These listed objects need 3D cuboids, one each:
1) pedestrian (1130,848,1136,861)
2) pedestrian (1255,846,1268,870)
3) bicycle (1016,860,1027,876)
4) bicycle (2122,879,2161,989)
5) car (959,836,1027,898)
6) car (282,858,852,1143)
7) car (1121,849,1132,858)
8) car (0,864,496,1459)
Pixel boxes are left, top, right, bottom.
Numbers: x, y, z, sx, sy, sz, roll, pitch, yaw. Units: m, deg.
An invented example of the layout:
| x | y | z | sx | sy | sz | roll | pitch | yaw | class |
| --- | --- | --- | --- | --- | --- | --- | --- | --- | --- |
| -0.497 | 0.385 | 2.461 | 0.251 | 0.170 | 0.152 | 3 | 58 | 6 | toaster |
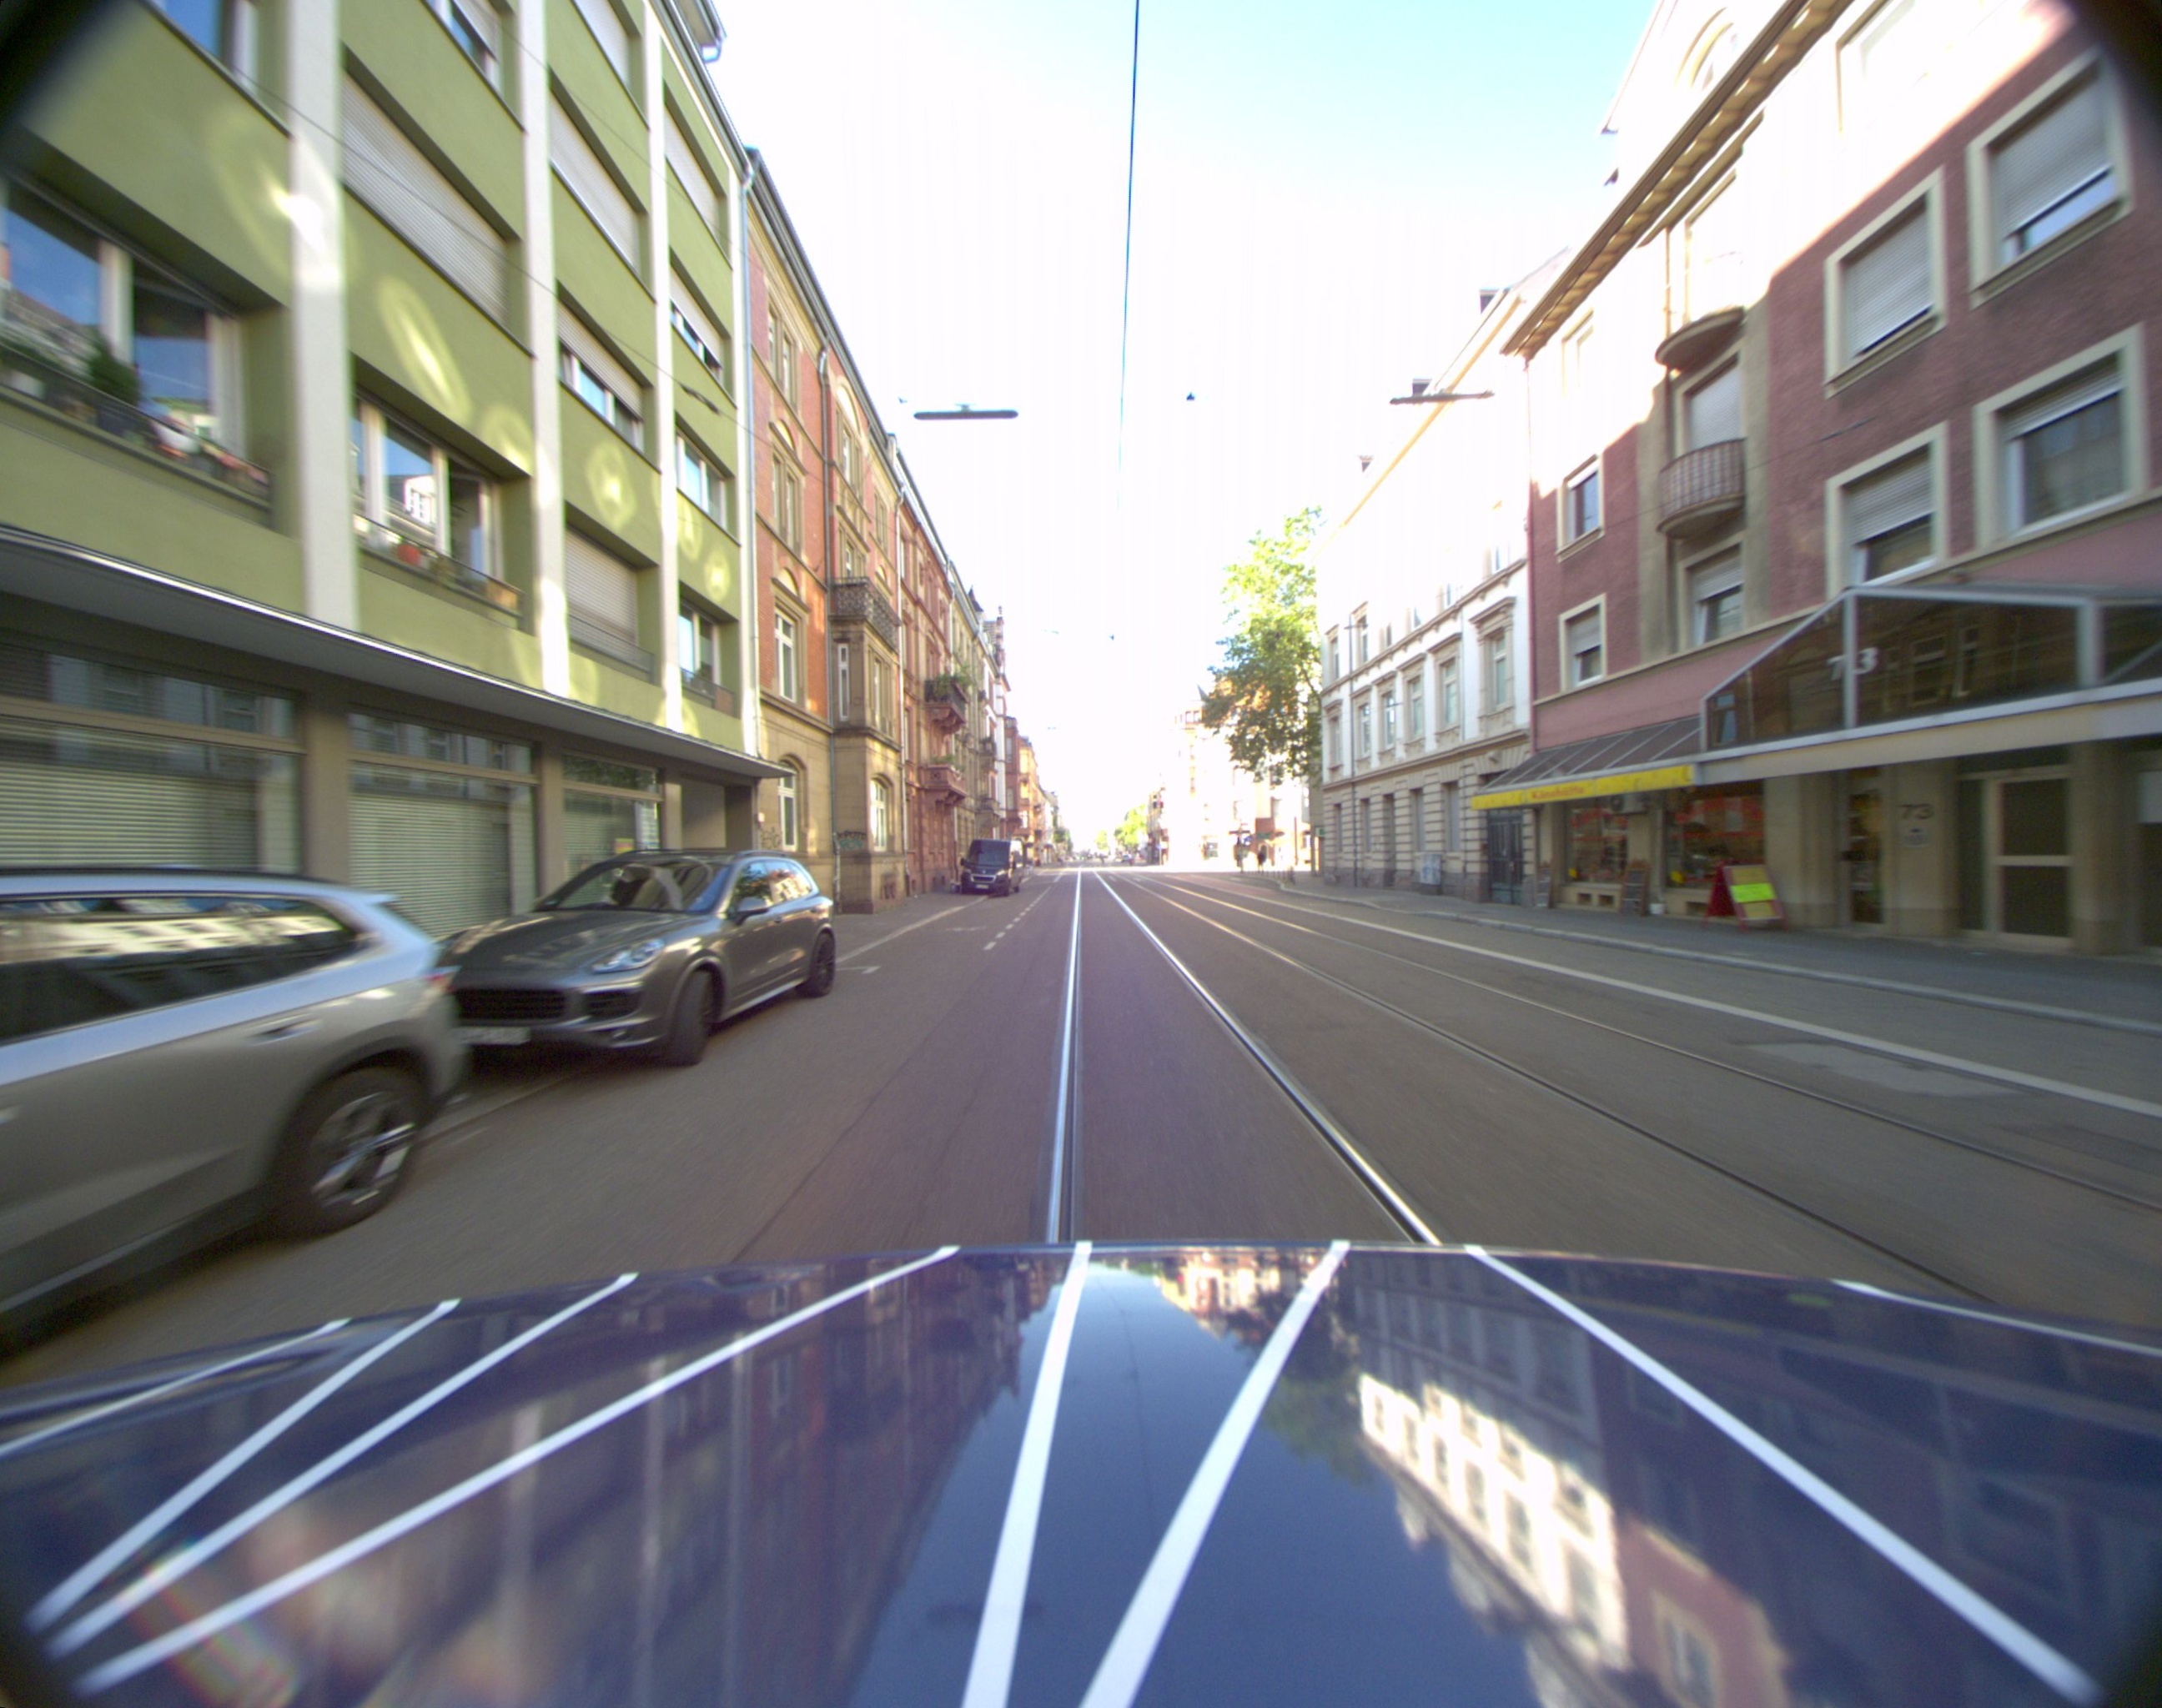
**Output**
| x | y | z | sx | sy | sz | roll | pitch | yaw | class |
| --- | --- | --- | --- | --- | --- | --- | --- | --- | --- |
| 7.849 | 0.076 | 114.487 | 0.756 | 2.002 | 0.718 | -2 | 1 | 0 | pedestrian |
| 13.730 | 0.288 | 57.743 | 0.795 | 1.837 | 0.809 | -2 | 1 | 3 | pedestrian |
| -4.313 | 0.988 | 55.237 | 0.647 | 1.143 | 1.688 | -1 | 0 | 0 | bicycle |
| 10.747 | 0.797 | 6.518 | 0.425 | 1.053 | 2.329 | -2 | 1 | 0 | bicycle |
| -3.855 | 0.506 | 34.446 | 2.128 | 2.478 | 5.856 | -2 | 1 | 2 | car |
| -3.853 | 0.910 | 7.011 | 1.999 | 1.606 | 4.785 | 2 | 1 | 0 | car |
| 9.747 | -0.126 | 161.911 | 1.998 | 2.002 | 4.000 | -1 | 0 | 0 | car |
| -3.995 | 0.926 | 1.846 | 1.871 | 1.637 | 4.399 | -2 | 1 | -4 | car |
